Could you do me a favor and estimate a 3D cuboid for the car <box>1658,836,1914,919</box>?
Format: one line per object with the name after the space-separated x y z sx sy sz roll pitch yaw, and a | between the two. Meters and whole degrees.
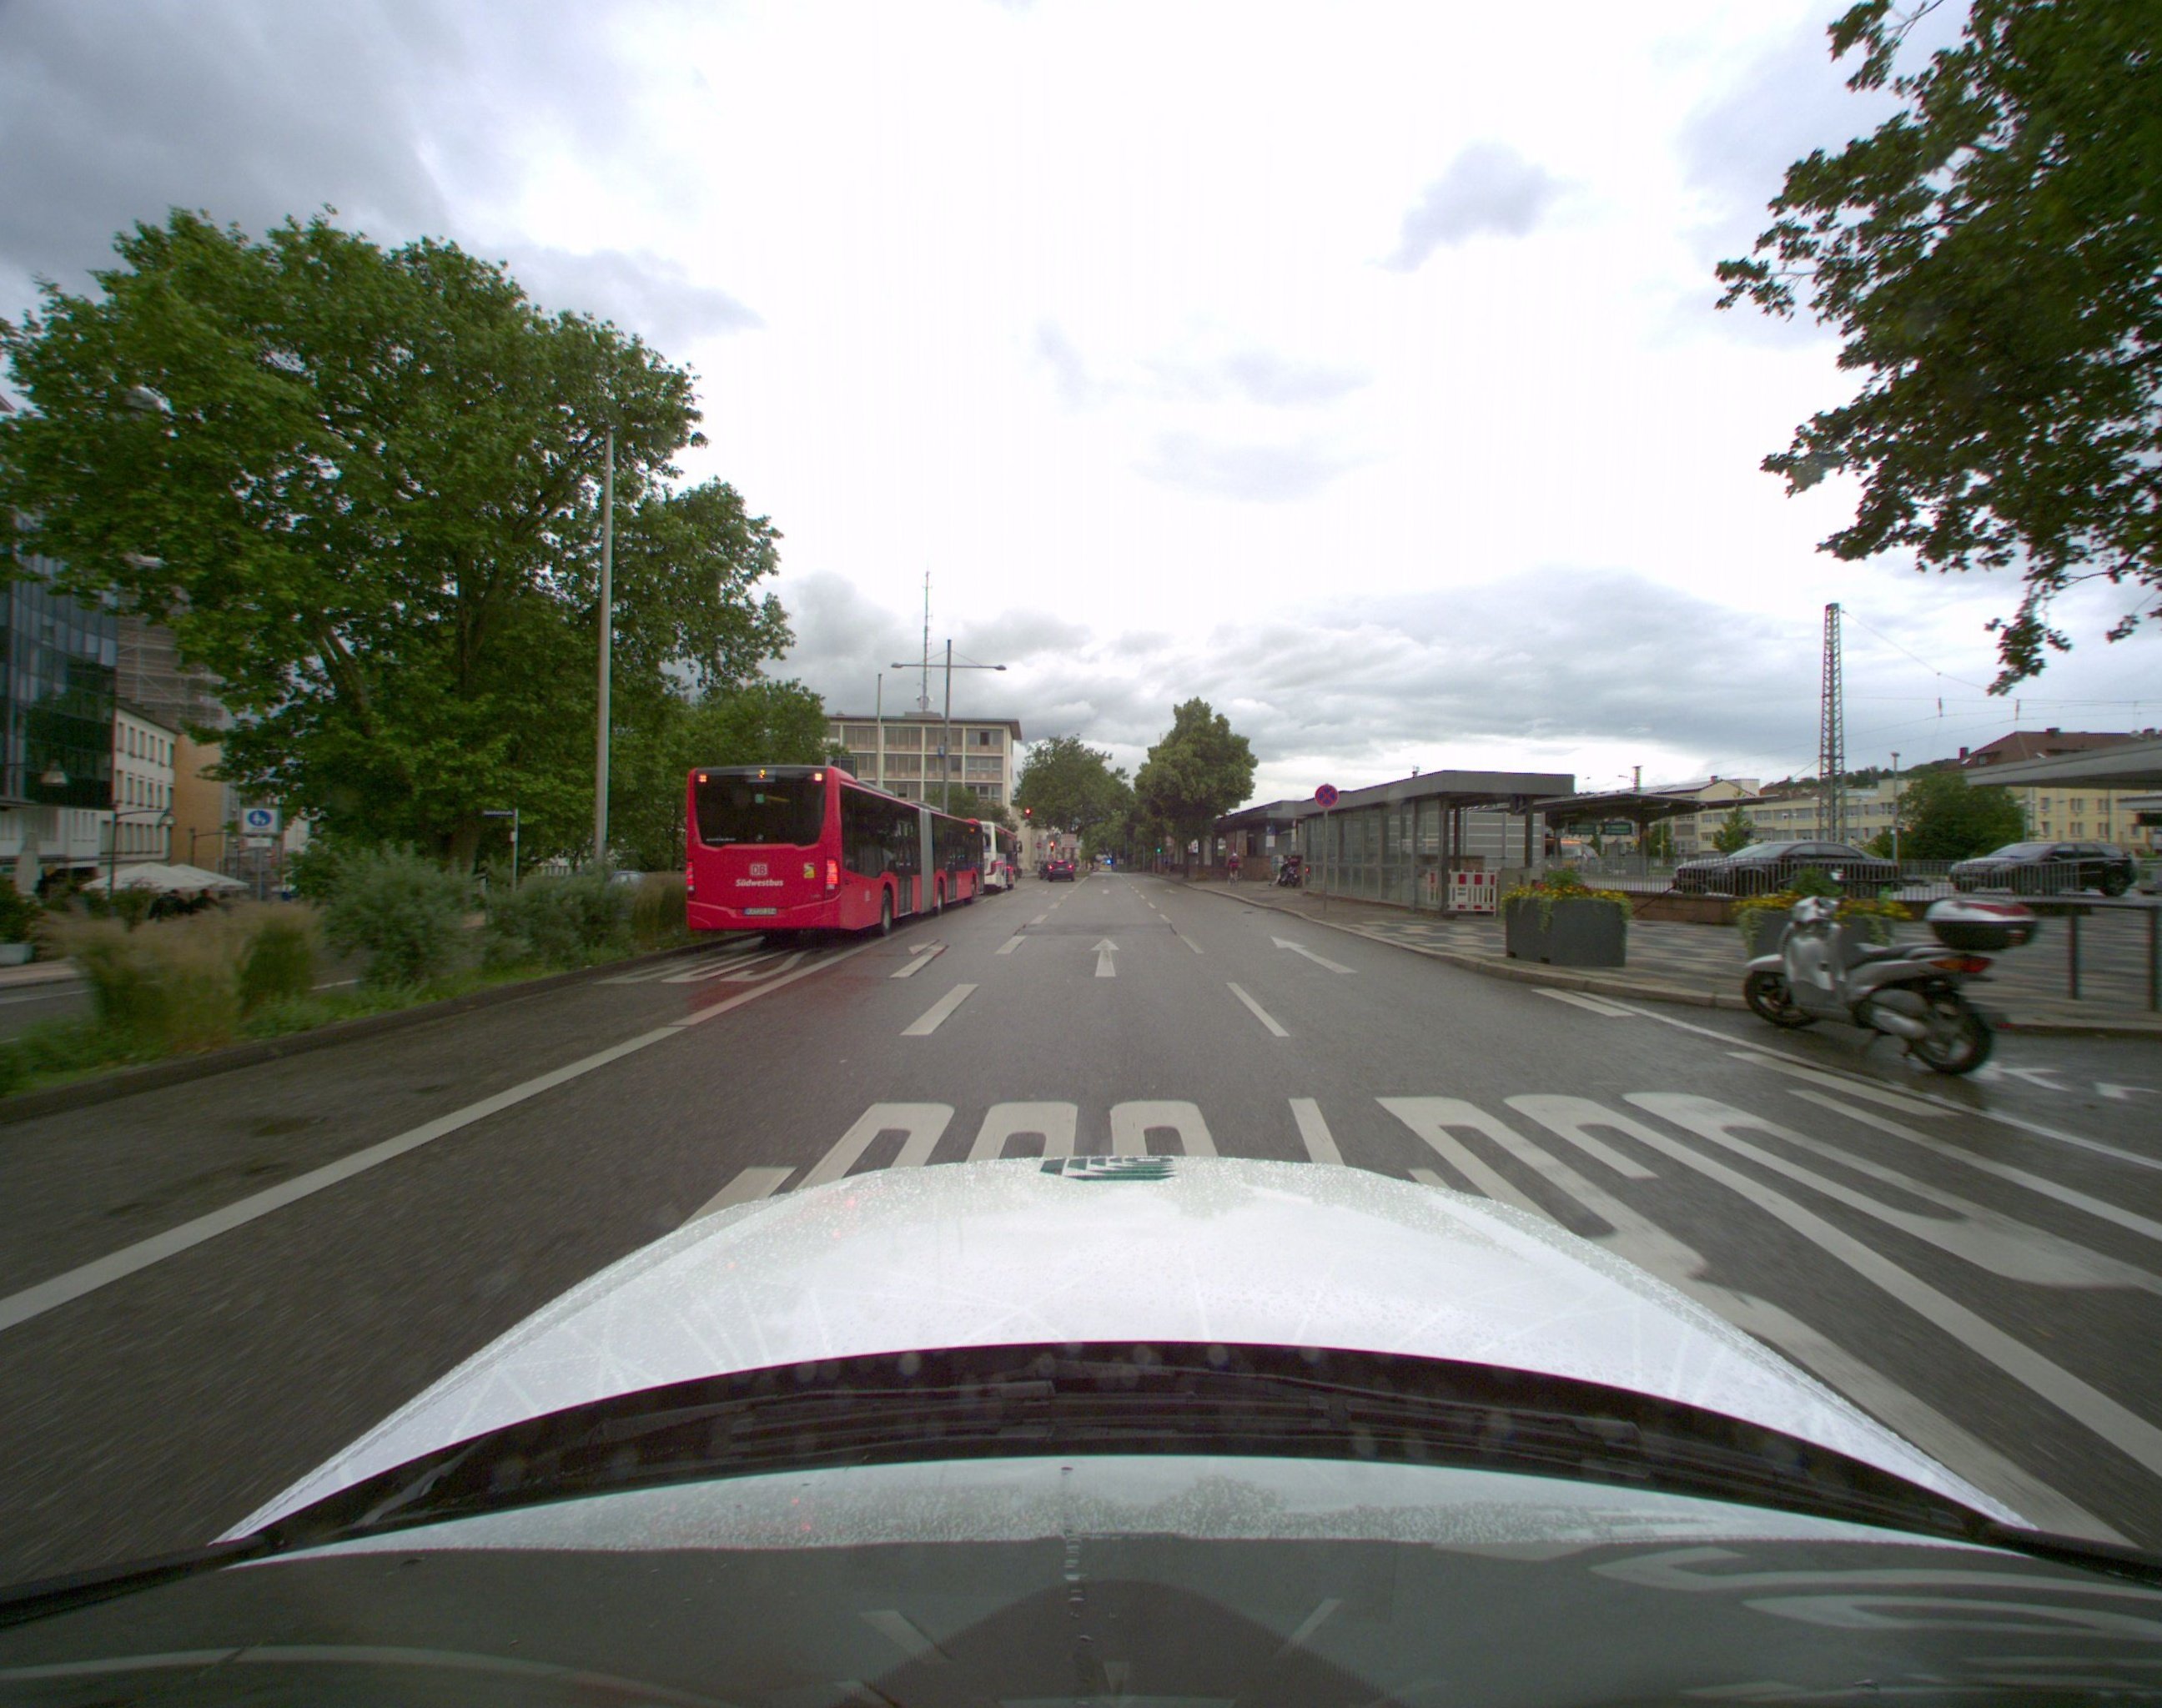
17.379 0.556 20.247 4.674 1.874 2.106 -1 0 -3 | car

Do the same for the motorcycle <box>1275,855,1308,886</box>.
9.503 0.748 36.864 0.789 1.348 2.456 0 0 -1 | motorcycle

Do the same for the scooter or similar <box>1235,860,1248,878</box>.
10.265 0.970 52.144 0.491 1.153 1.544 0 -1 -1 | scooter or similar

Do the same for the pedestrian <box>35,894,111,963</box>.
-24.650 1.793 19.933 1.009 1.562 0.957 0 -1 -42 | pedestrian

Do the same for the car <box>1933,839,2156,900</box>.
31.522 0.487 26.783 4.664 1.874 2.111 -1 0 3 | car

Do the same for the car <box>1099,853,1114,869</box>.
4.143 1.129 134.604 2.257 2.657 3.998 -1 0 -1 | car

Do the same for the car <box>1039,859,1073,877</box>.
-2.096 1.131 66.437 1.819 1.409 4.391 -1 -1 -15 | car

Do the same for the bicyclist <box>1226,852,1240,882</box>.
7.829 0.673 41.982 0.532 1.538 0.694 -2 -1 -2 | bicyclist

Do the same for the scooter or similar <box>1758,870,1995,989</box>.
8.898 0.794 9.233 1.061 1.155 1.668 2 0 1 | scooter or similar

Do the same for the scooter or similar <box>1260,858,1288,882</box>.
9.280 0.778 39.279 0.494 1.153 1.704 0 -1 -19 | scooter or similar

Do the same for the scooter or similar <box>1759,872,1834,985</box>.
7.926 0.785 9.056 0.409 1.155 1.271 2 0 32 | scooter or similar

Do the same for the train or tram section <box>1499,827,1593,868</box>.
39.875 -0.462 70.358 2.646 3.282 9.518 -2 -1 0 | train or tram section

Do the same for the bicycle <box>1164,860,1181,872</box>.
9.671 1.221 85.922 1.703 1.249 0.489 -1 -1 32 | bicycle

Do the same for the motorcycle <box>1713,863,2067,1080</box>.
5.948 0.754 6.220 0.640 1.352 2.110 -1 0 2 | motorcycle

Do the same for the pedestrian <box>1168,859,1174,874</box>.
9.443 1.307 85.511 0.452 1.569 0.395 -2 -1 33 | pedestrian

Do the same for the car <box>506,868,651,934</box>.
-13.573 1.197 22.302 1.789 1.579 4.136 -1 0 -7 | car

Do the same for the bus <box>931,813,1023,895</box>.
-4.858 0.041 40.804 2.946 3.439 12.556 -1 0 0 | bus

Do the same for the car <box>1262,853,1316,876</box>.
15.007 0.736 58.874 3.540 1.542 1.750 -1 0 6 | car

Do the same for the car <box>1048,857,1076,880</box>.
-1.369 1.052 59.413 1.958 1.640 4.357 -1 -1 0 | car

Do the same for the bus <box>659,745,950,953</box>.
-5.193 -0.052 17.889 2.800 3.246 9.914 -1 0 1 | bus

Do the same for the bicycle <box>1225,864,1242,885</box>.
7.857 1.033 42.005 0.445 1.016 1.676 -3 -1 -1 | bicycle

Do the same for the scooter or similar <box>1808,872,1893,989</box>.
8.295 0.786 8.814 0.409 1.155 1.271 2 0 32 | scooter or similar

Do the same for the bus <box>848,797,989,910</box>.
-5.050 0.013 27.219 2.742 3.132 8.844 -1 0 1 | bus

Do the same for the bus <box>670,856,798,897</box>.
-31.280 2.049 73.193 11.830 3.019 2.904 -4 -2 22 | bus
